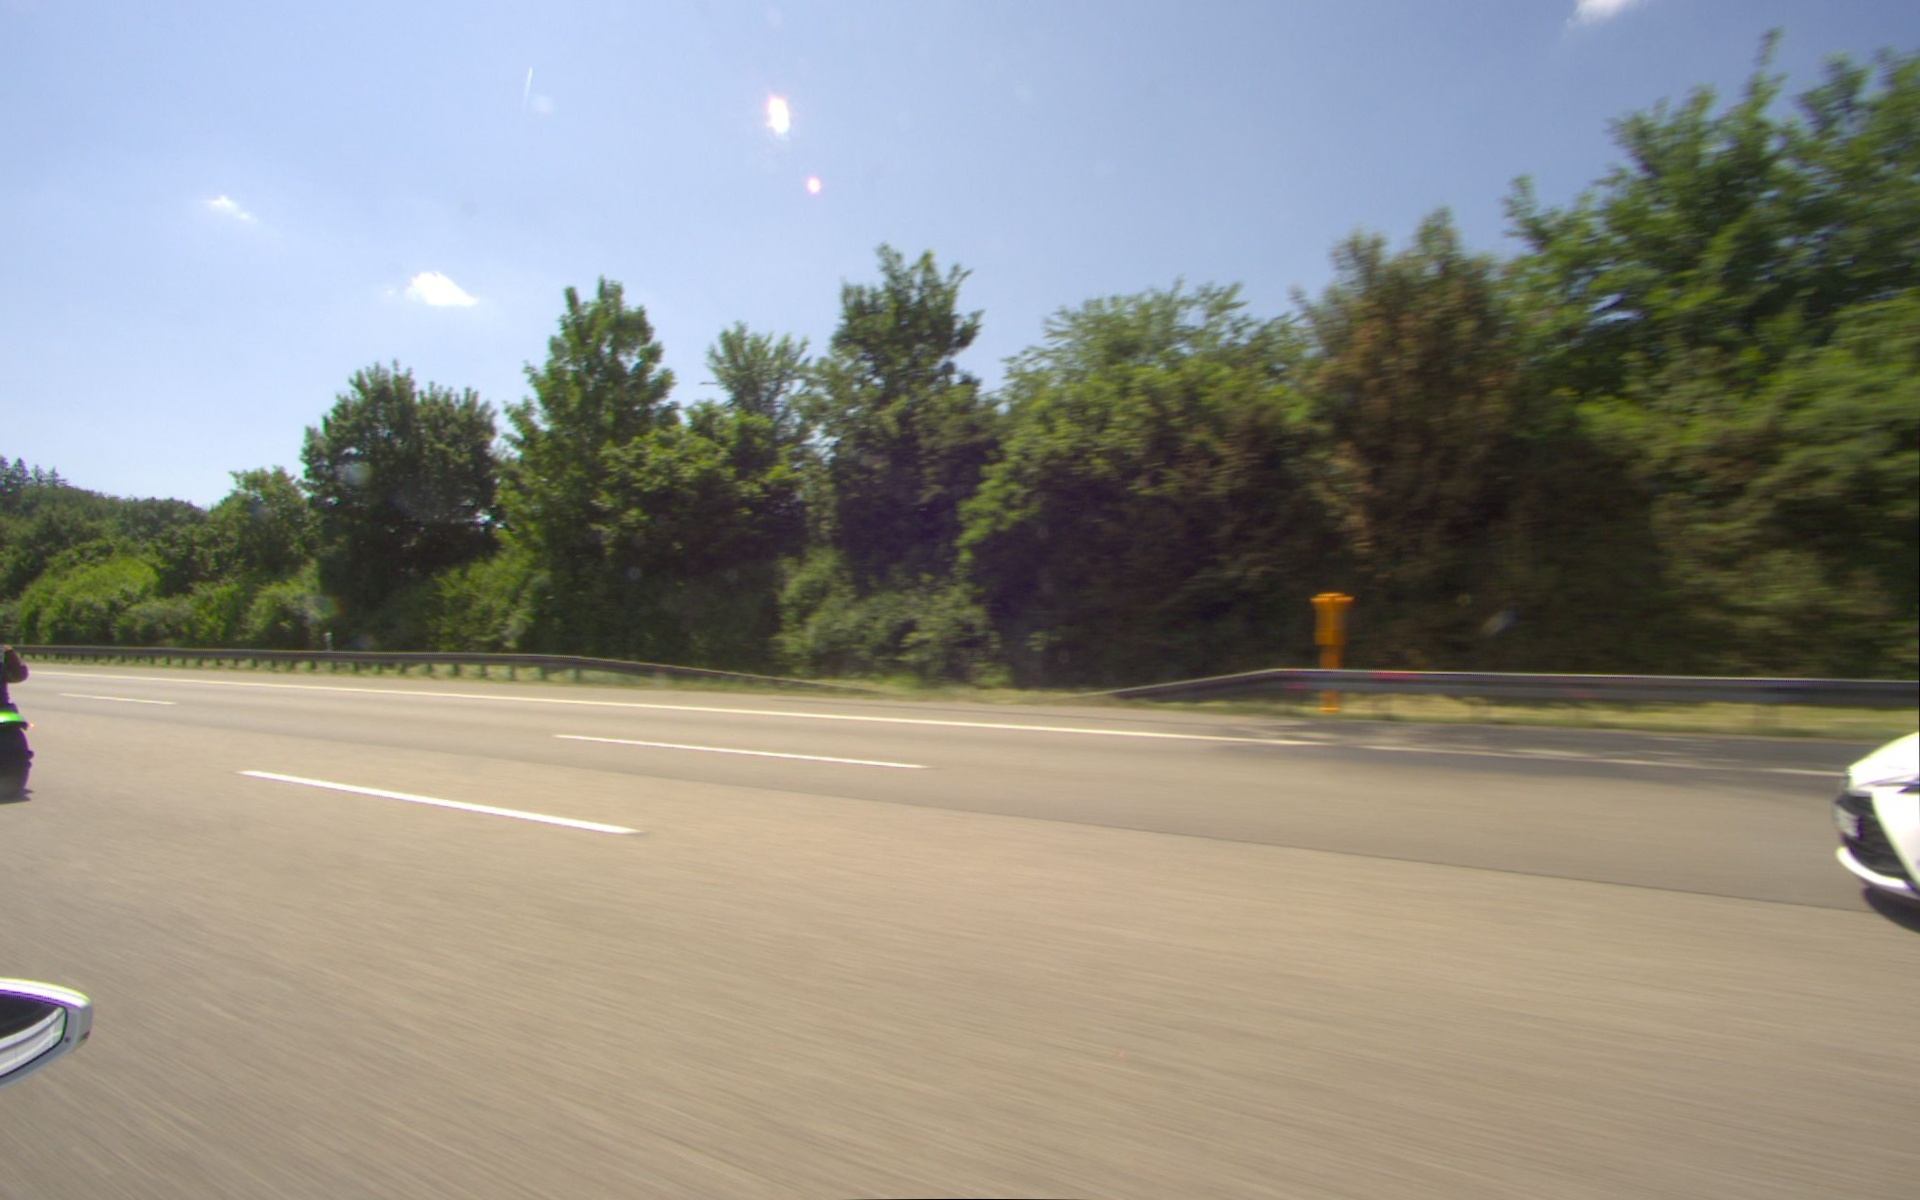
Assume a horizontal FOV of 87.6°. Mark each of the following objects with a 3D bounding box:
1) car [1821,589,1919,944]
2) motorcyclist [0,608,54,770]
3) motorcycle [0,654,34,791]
[{"bbox_3d":[6.442,0.681,3.912,4.421,1.538,1.746,-2,-2,33],"label":"car"},{"bbox_3d":[-9.004,0.809,9.159,1.009,1.445,0.850,-2,-1,34],"label":"motorcyclist"},{"bbox_3d":[-9.326,1.085,9.314,2.403,1.150,0.534,0,0,35],"label":"motorcycle"}]
